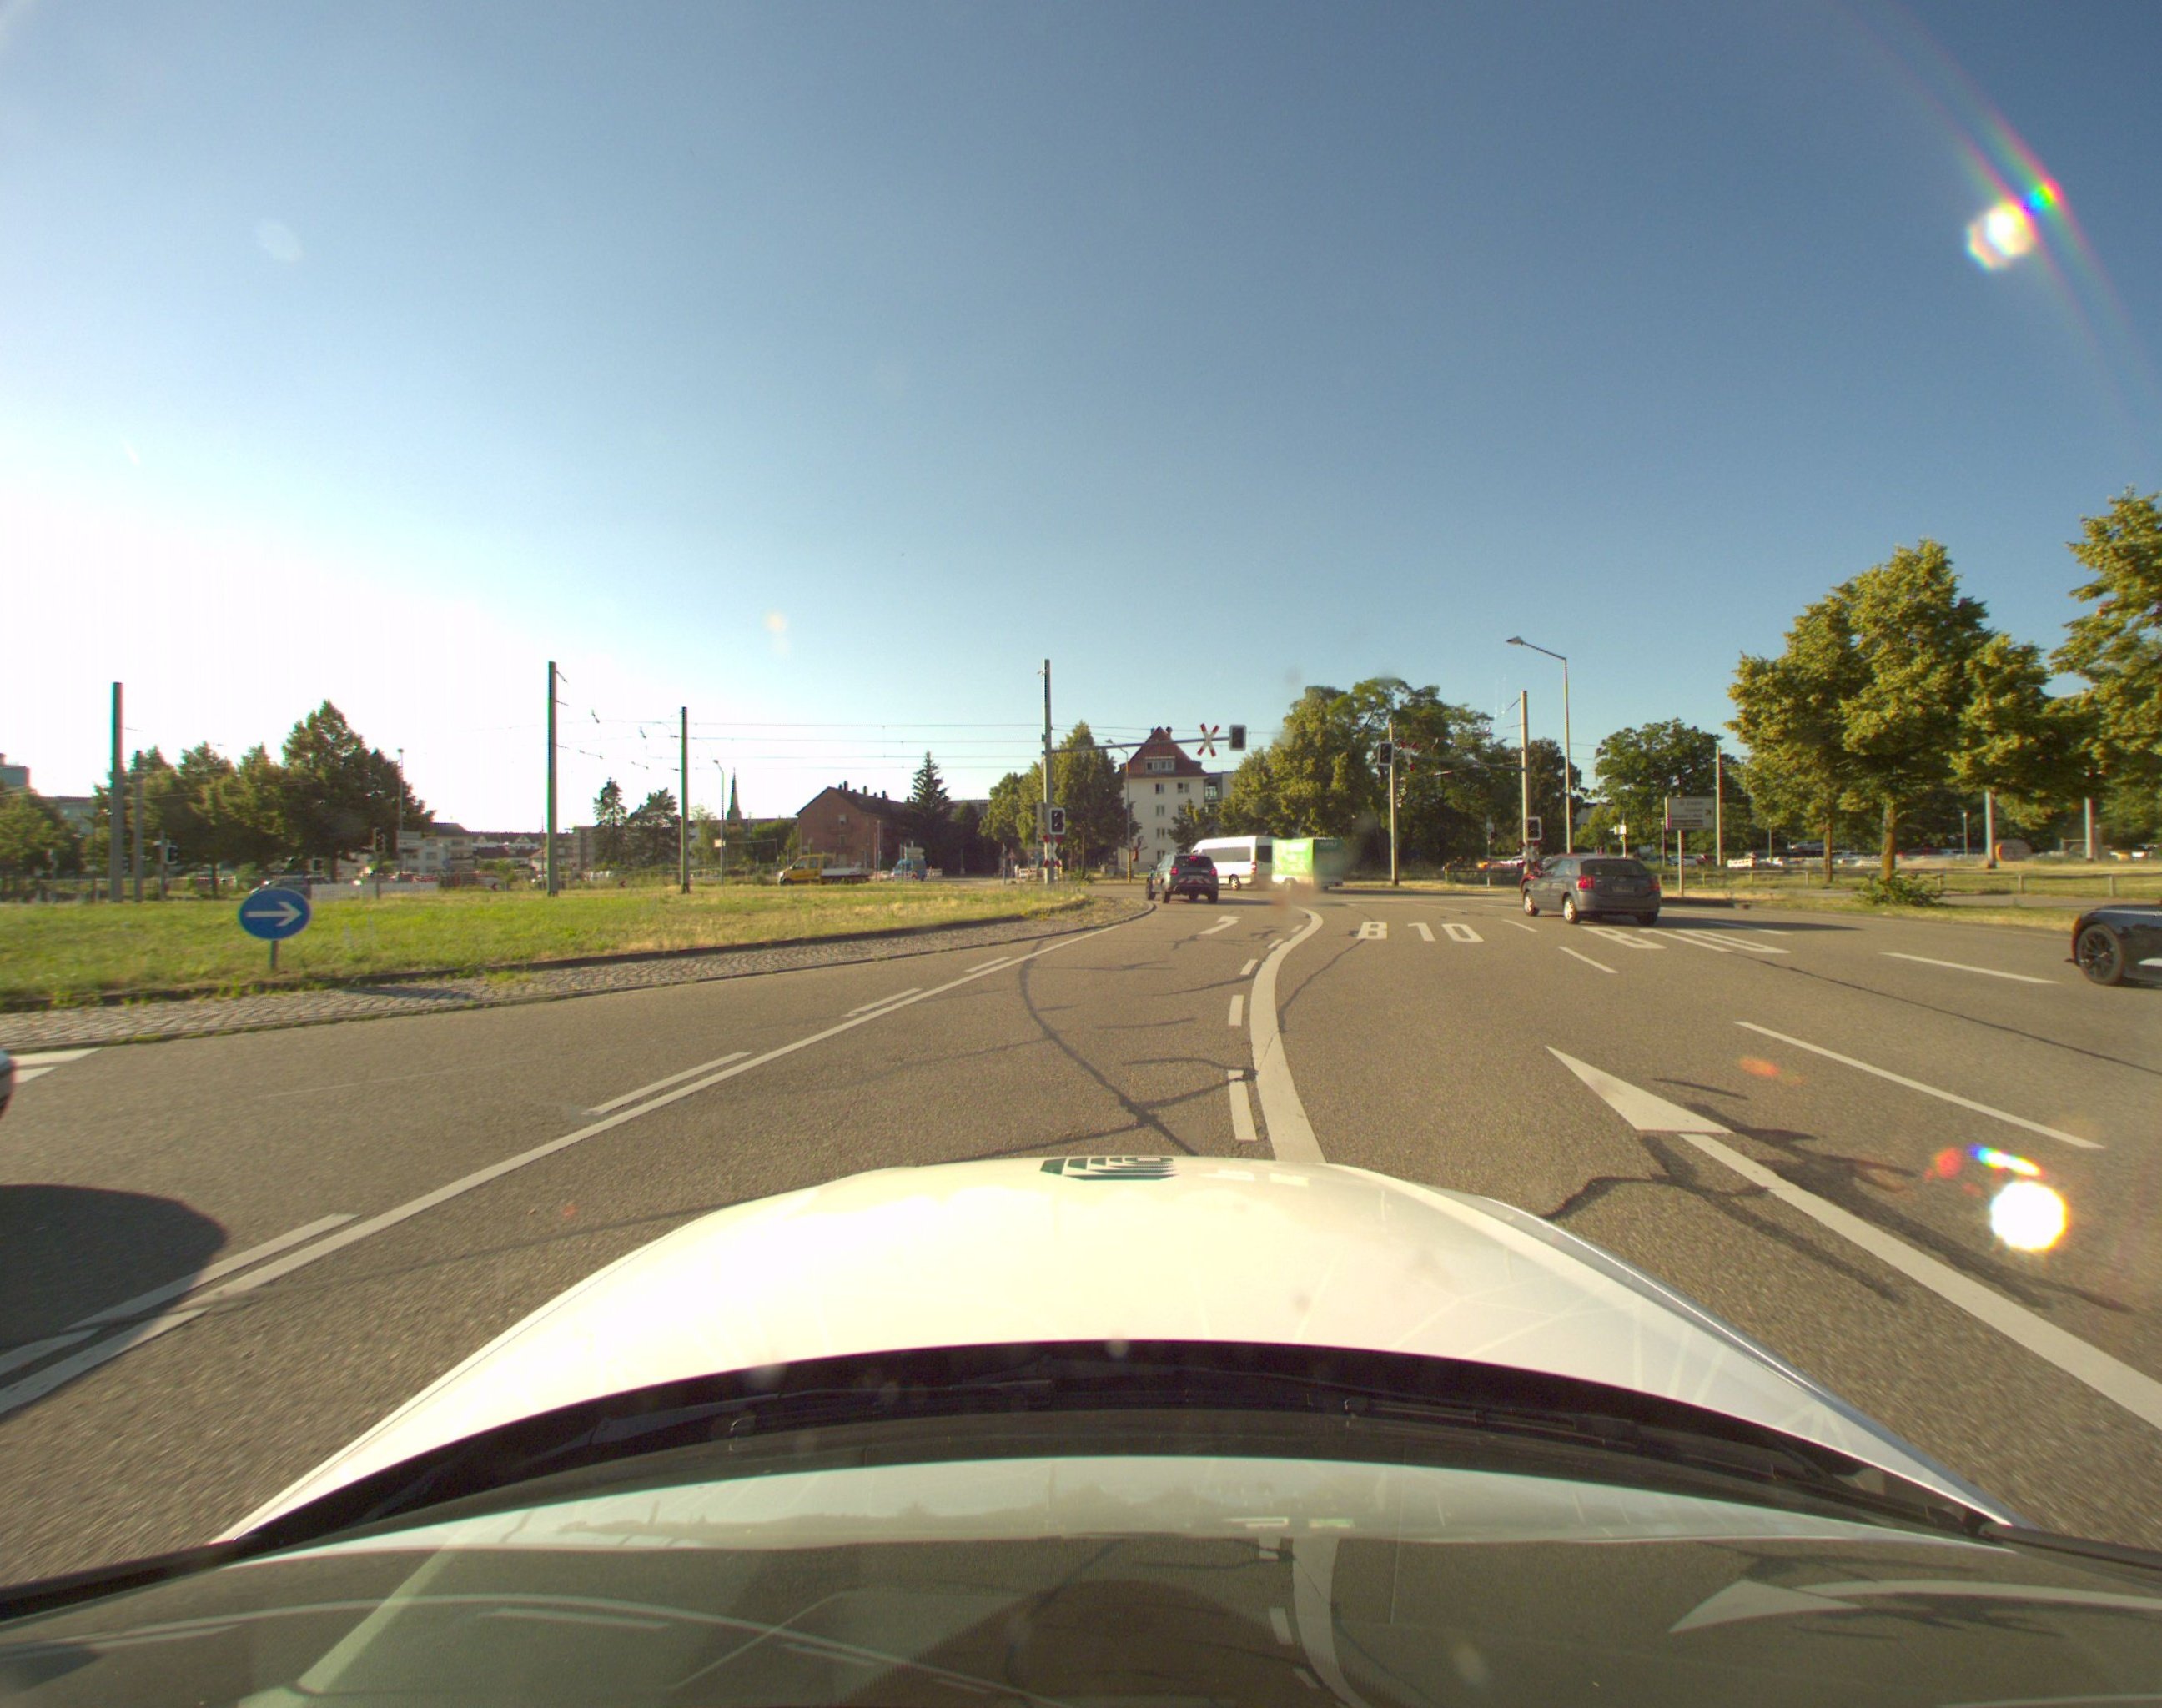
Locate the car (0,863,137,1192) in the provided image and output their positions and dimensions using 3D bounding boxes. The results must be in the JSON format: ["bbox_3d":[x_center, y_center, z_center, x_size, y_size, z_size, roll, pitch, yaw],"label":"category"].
[{"bbox_3d":[-6.437,0.785,2.772,3.760,1.434,1.823,-1,0,-21],"label":"car"}]

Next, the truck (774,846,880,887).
[{"bbox_3d":[-16.863,0.847,54.268,6.194,2.558,2.595,-1,0,8],"label":"truck"}]

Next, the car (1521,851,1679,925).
[{"bbox_3d":[11.575,0.699,18.471,1.736,1.473,3.832,-1,0,11],"label":"car"}]

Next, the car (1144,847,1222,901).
[{"bbox_3d":[3.365,0.660,27.597,1.901,1.660,3.995,-1,-1,-4],"label":"car"}]

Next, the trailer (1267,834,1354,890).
[{"bbox_3d":[10.211,0.374,36.463,2.097,2.401,3.477,1,-1,-20],"label":"trailer"}]

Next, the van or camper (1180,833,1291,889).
[{"bbox_3d":[7.769,0.367,41.874,2.295,2.629,6.530,1,-1,-24],"label":"van or camper"}]

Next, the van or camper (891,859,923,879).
[{"bbox_3d":[-19.469,1.663,91.275,2.081,2.154,4.434,-1,0,9],"label":"van or camper"}]

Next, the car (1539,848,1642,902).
[{"bbox_3d":[16.502,0.641,26.585,1.735,1.621,3.834,-1,0,14],"label":"car"}]

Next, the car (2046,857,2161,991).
[{"bbox_3d":[11.697,0.746,7.508,1.837,1.338,4.652,0,1,25],"label":"car"}]
